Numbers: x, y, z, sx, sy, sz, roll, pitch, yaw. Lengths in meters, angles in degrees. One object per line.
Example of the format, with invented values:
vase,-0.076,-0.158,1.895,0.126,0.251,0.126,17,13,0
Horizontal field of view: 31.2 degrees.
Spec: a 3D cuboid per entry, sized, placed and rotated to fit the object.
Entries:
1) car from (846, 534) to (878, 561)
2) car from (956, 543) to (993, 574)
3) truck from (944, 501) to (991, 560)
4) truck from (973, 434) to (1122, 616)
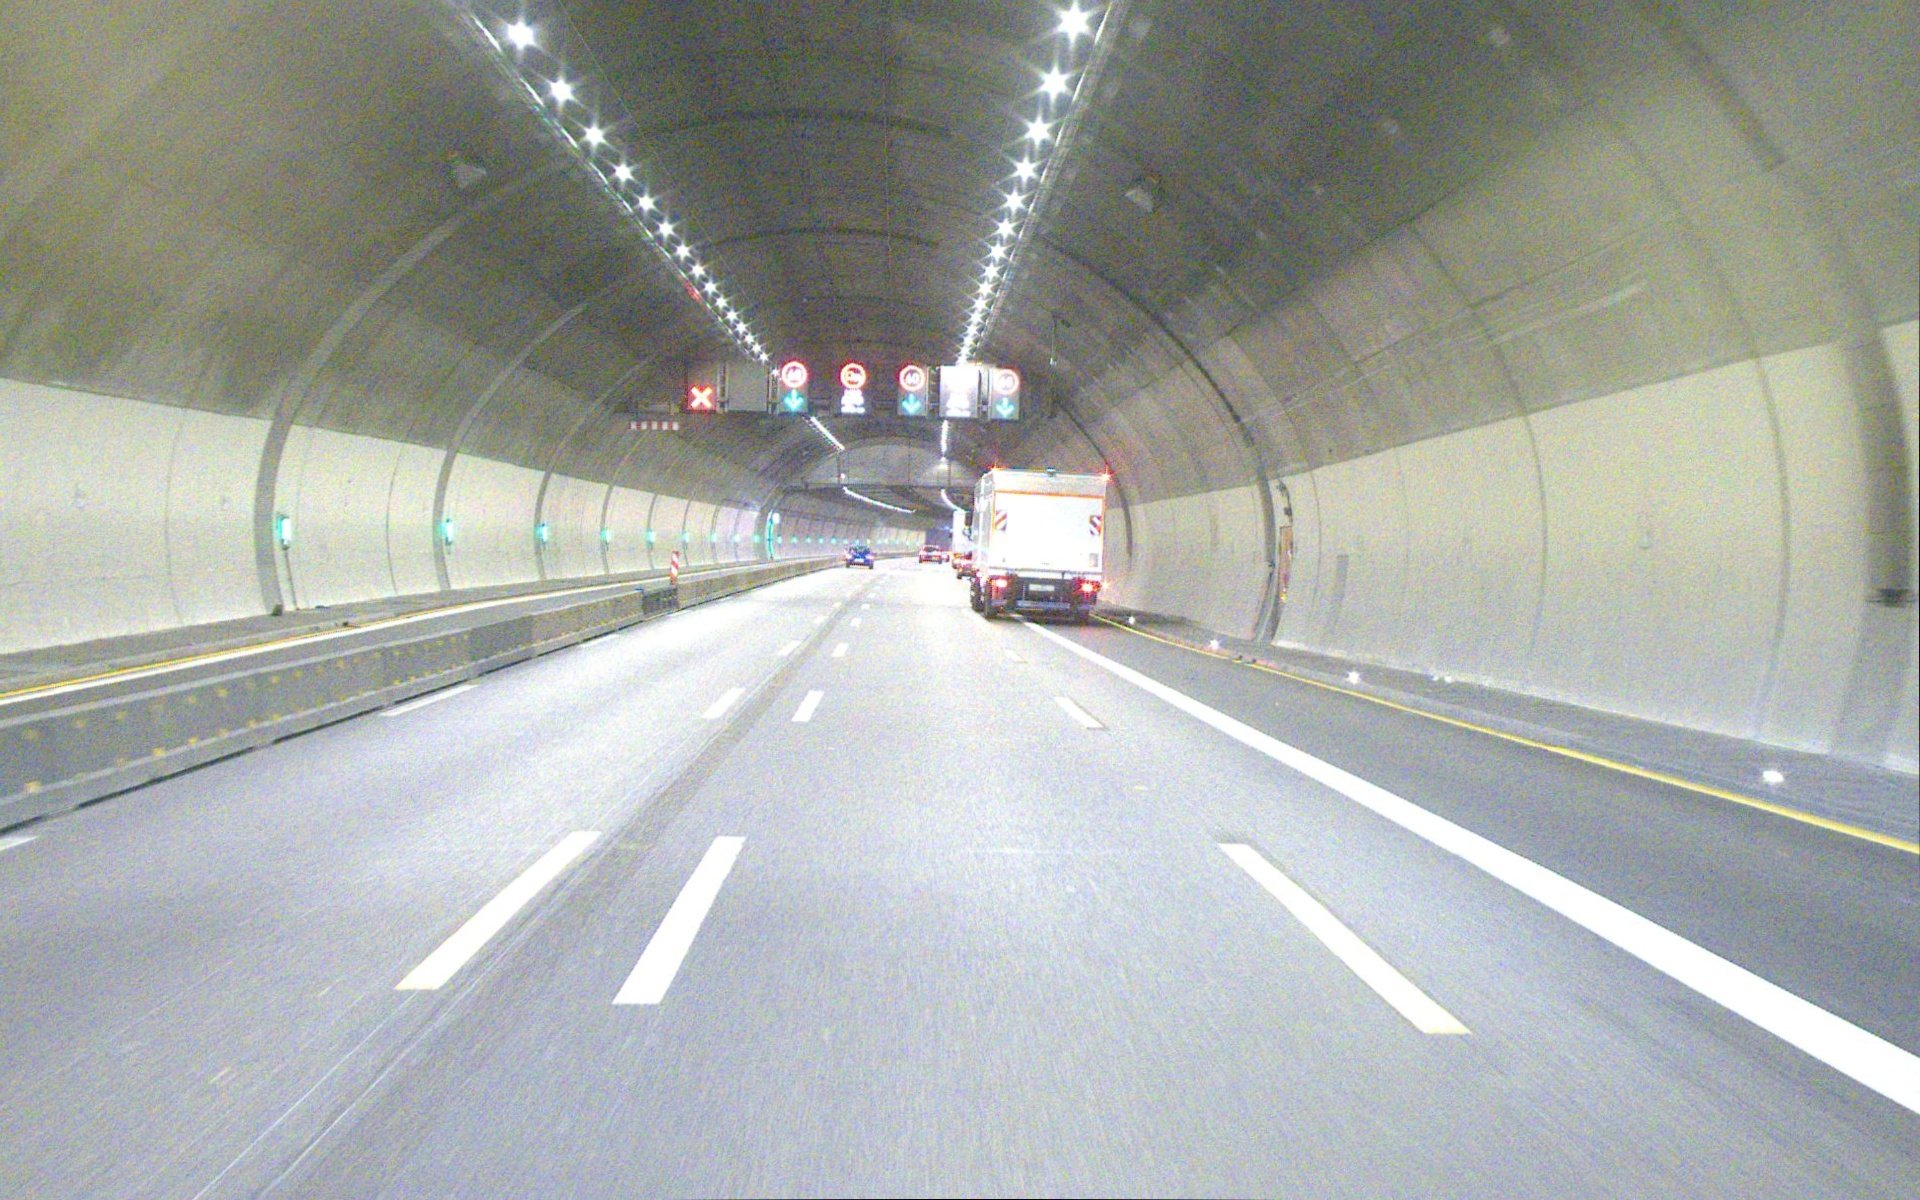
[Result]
car,-5.734,-3.090,200.944,1.758,1.456,4.119,1,2,0
car,0.711,-2.048,169.874,1.739,1.456,3.960,1,2,1
truck,0.568,-4.793,239.522,3.066,3.904,10.367,2,0,1
truck,1.944,-1.672,80.811,3.092,3.904,10.368,2,0,0
